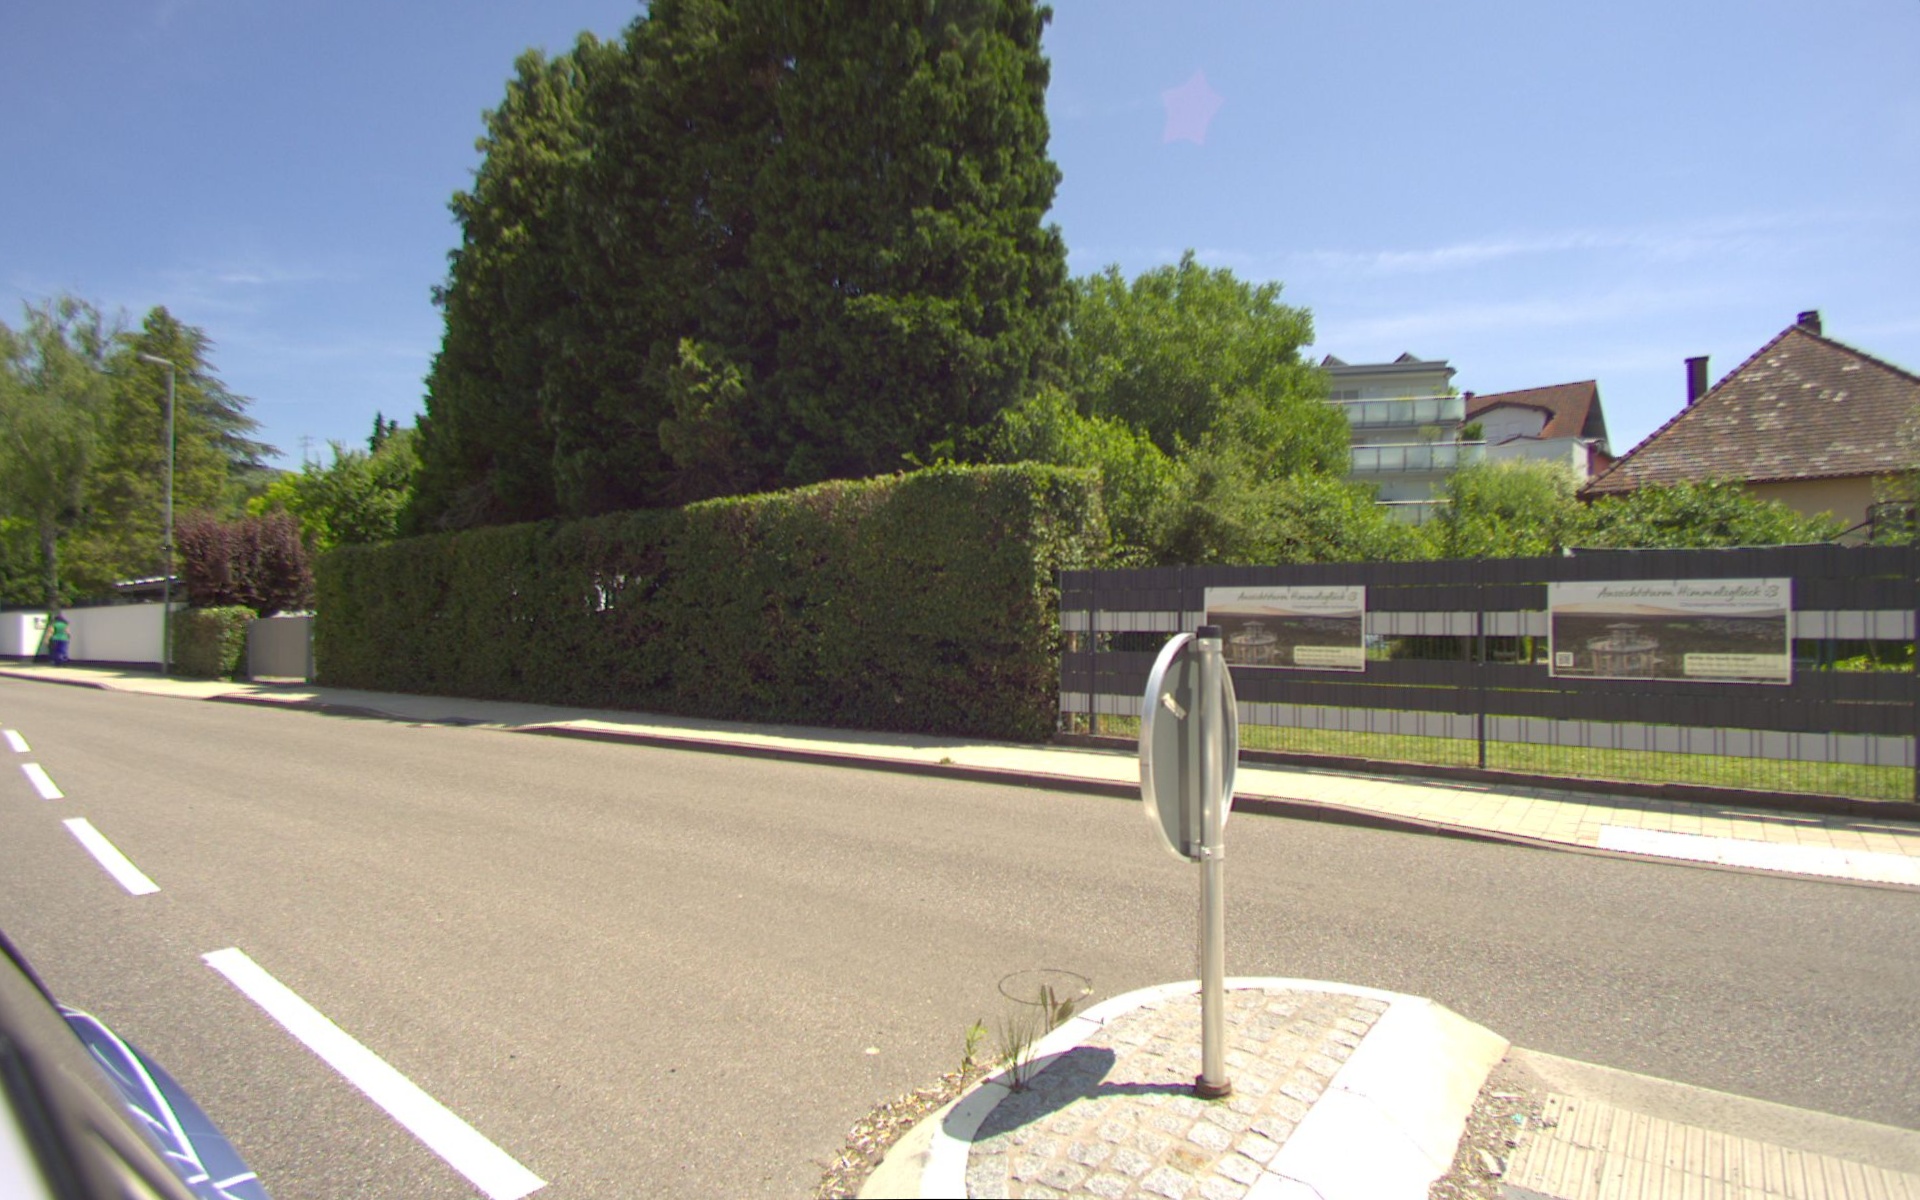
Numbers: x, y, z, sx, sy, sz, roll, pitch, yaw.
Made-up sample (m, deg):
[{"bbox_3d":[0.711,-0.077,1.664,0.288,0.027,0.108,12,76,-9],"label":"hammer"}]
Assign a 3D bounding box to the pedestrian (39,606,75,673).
[{"bbox_3d":[-27.927,1.210,31.300,0.803,2.029,0.713,0,0,40],"label":"pedestrian"}]
